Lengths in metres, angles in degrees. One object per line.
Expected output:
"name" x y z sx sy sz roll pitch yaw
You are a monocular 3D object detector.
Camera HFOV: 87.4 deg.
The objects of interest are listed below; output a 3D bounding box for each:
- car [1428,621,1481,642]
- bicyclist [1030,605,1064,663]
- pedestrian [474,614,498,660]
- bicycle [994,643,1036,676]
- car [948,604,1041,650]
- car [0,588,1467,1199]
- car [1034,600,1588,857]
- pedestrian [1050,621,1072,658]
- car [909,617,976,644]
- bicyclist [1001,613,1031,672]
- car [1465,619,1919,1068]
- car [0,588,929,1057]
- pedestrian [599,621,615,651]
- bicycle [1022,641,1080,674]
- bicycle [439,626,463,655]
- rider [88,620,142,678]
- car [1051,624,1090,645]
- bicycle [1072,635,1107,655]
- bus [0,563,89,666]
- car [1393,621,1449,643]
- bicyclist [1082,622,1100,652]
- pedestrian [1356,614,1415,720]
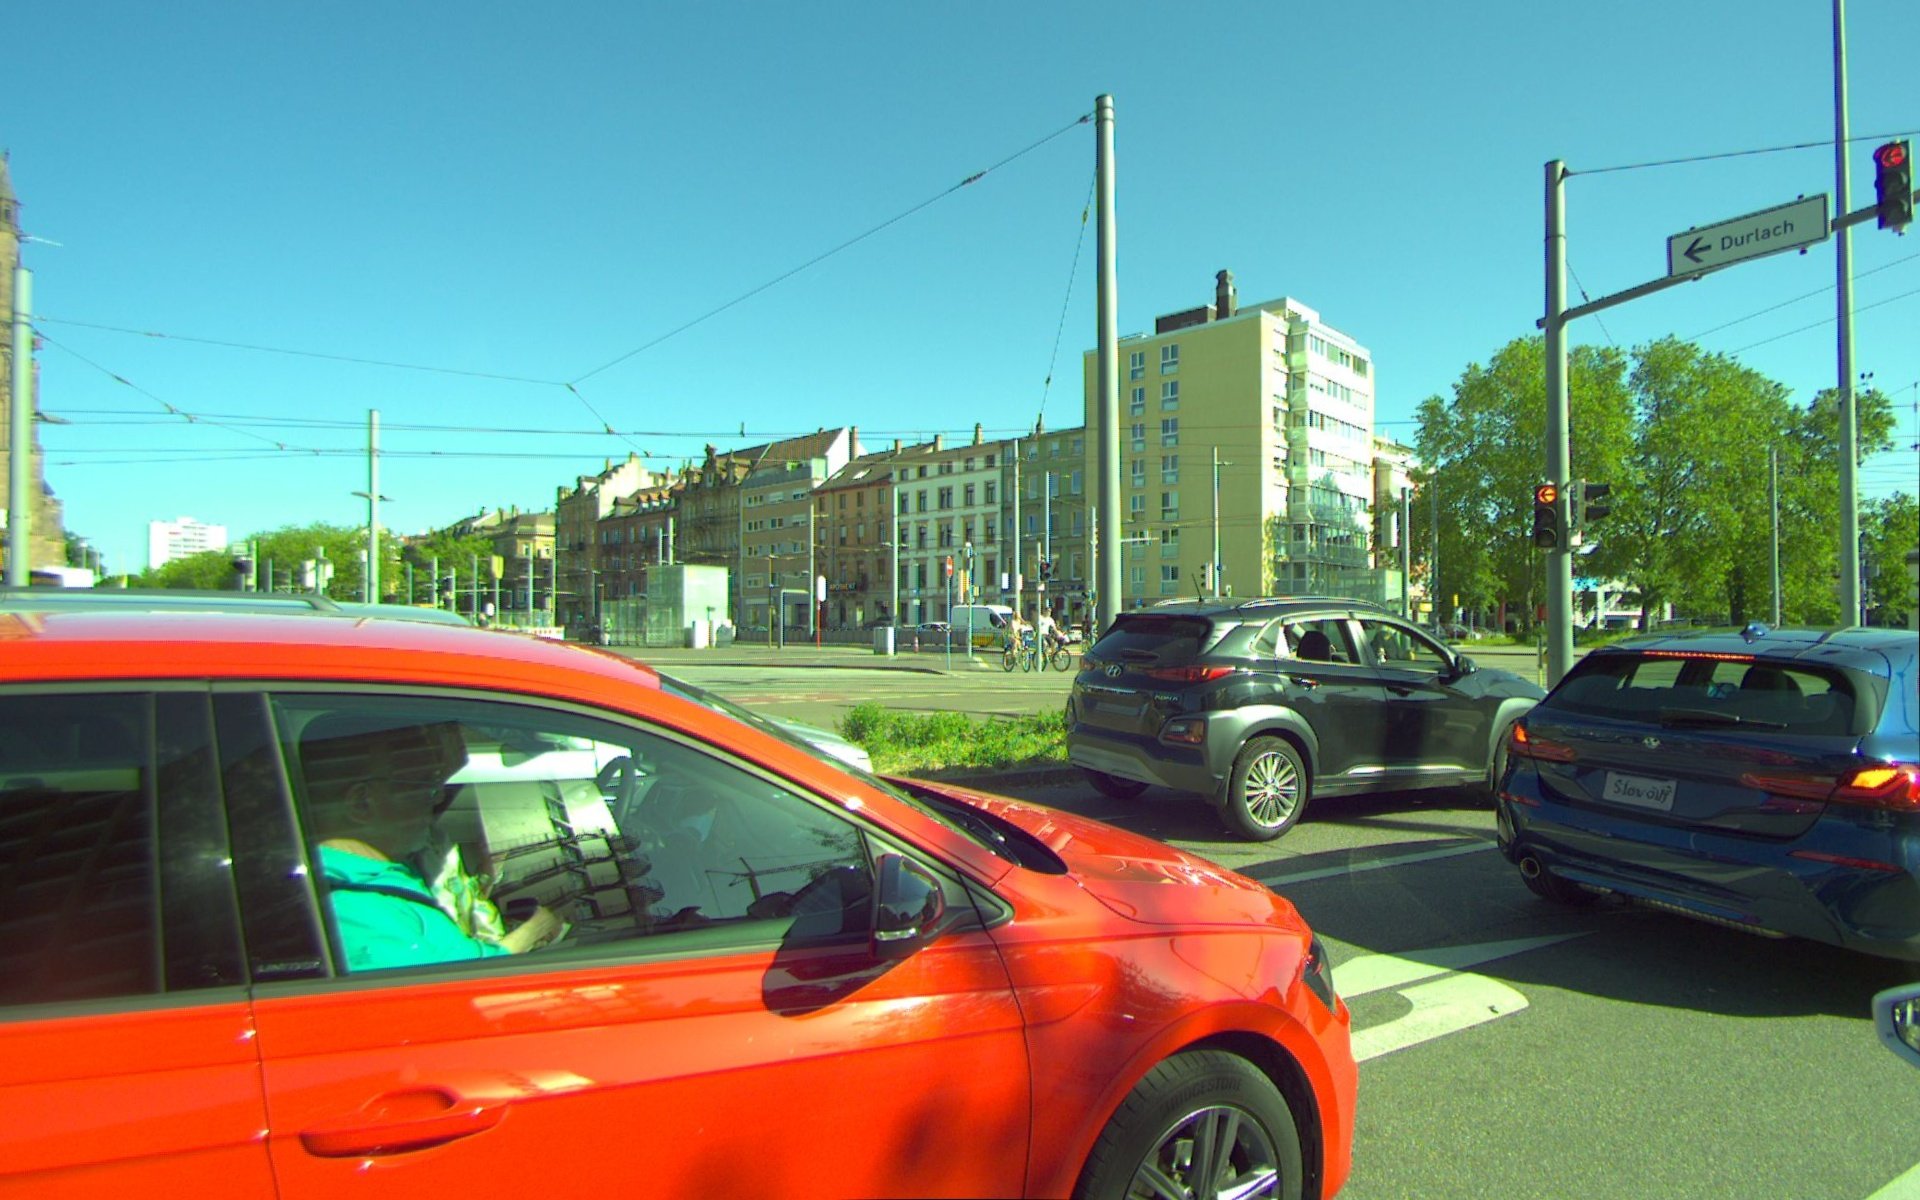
"car" 41.426 2.600 84.129 3.692 1.684 1.585 -1 -2 43
"bicyclist" 2.557 0.987 29.515 0.671 1.676 0.778 1 -1 -34
"pedestrian" -19.927 1.550 42.227 0.871 1.879 0.683 1 -1 -29
"bicycle" 1.559 1.690 28.776 0.667 0.890 1.893 0 -1 -15
"car" 1.935 1.543 57.410 5.343 2.541 1.989 -1 -2 43
"car" -0.867 0.740 2.027 3.811 1.492 1.660 1 0 -32
"car" 2.714 0.798 7.685 3.957 1.538 1.752 1 0 -27
"pedestrian" 4.434 1.727 44.056 0.737 1.594 0.672 -1 -1 31
"car" -1.158 1.954 64.963 4.246 1.675 1.848 -1 -2 42
"bicyclist" 1.604 1.204 28.923 0.667 1.676 0.783 0 -1 -15
"car" 4.597 0.869 5.052 3.982 1.464 1.703 1 0 -28
"car" -2.595 0.731 4.464 4.696 1.492 1.700 1 -1 -31
"pedestrian" -20.524 2.093 58.367 0.672 1.735 0.794 1 -1 -37
"bicycle" 2.651 1.663 29.366 0.671 0.890 1.881 1 -1 -34
"bicycle" -21.542 1.716 42.498 0.461 1.189 1.253 0 -1 -5
"rider" -22.245 1.279 26.462 0.846 1.483 0.668 0 -1 -13
"car" 7.638 2.364 69.574 1.744 1.446 3.874 0 -1 -9
"bicycle" 6.296 2.192 48.819 1.665 0.958 0.614 1 -1 -29
"bus" -34.497 0.448 31.312 11.925 3.105 2.763 0 -1 -3
"car" 36.318 2.480 79.222 3.692 1.684 1.585 -1 -2 43
"bicyclist" 6.385 1.785 48.882 0.609 1.462 0.614 1 -1 -28
"pedestrian" 6.435 1.007 15.201 0.747 1.575 0.357 0 -1 -10
